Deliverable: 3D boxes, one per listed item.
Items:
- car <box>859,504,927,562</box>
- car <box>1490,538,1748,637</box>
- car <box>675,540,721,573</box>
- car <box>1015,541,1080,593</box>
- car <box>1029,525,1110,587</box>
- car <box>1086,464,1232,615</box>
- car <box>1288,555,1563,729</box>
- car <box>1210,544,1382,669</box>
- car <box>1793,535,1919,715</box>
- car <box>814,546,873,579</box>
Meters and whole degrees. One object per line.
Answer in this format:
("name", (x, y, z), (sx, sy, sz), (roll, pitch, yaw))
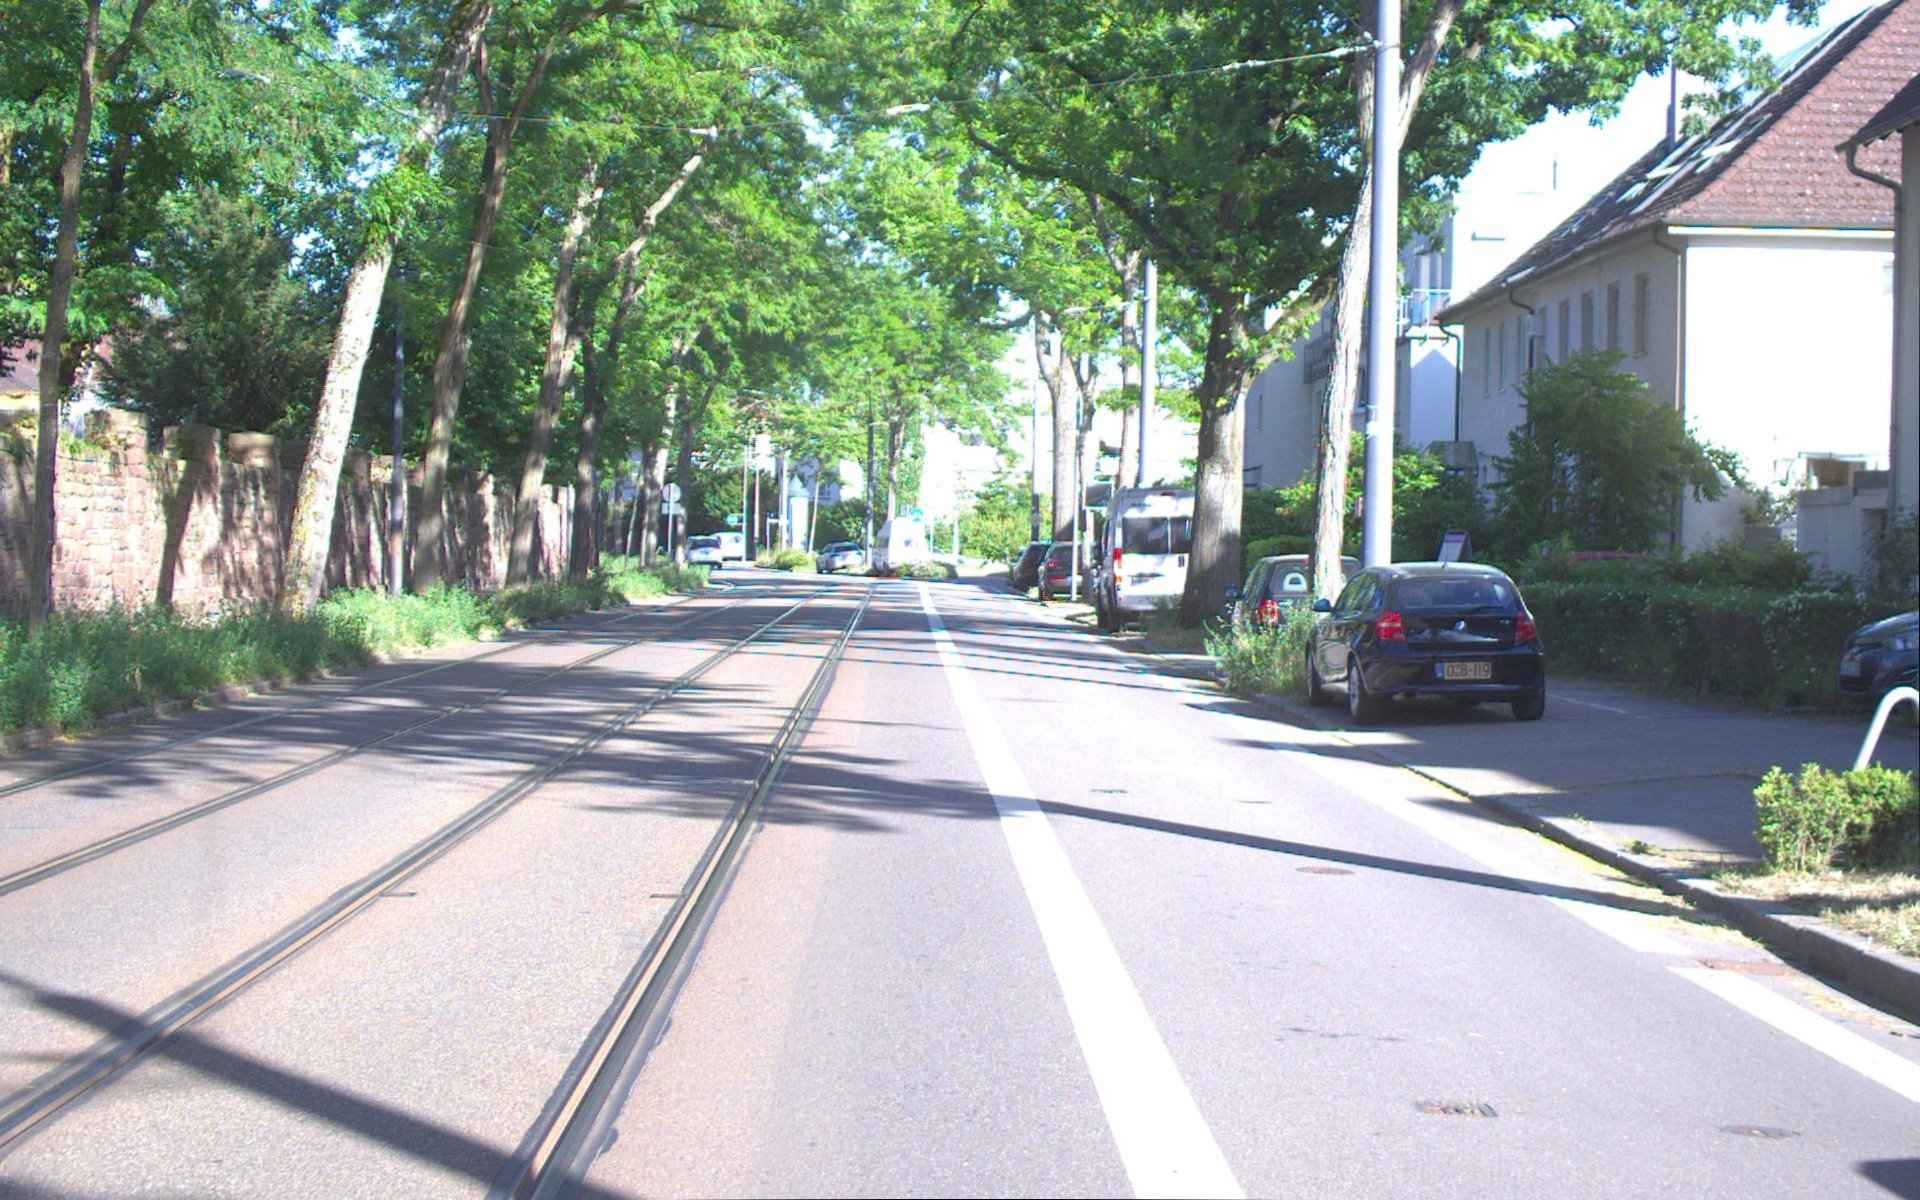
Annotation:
("car", (-2.929, -2.905, 148.814), (1.993, 2.449, 4.510), (1, 1, -14))
("car", (9.890, -0.201, 51.692), (3.396, 1.431, 1.735), (-1, 1, -13))
("car", (-13.541, -2.267, 177.528), (1.865, 1.669, 4.174), (1, 1, -11))
("car", (2.886, -1.105, 112.916), (2.003, 1.669, 4.392), (-1, 1, 3))
("car", (3.006, -1.230, 95.253), (2.003, 1.669, 4.392), (-1, 1, -1))
("car", (3.617, -1.116, 63.392), (2.245, 2.645, 5.586), (0, 1, -1))
("car", (4.285, 0.337, 32.247), (1.784, 1.443, 4.302), (-2, 1, -3))
("car", (4.038, 0.048, 41.778), (1.627, 1.393, 3.646), (-2, 1, -1))
("car", (9.268, 0.185, 29.525), (3.737, 1.484, 1.740), (0, 1, -6))
("car", (-5.677, -1.822, 166.628), (2.002, 1.555, 4.394), (1, 1, -13))
